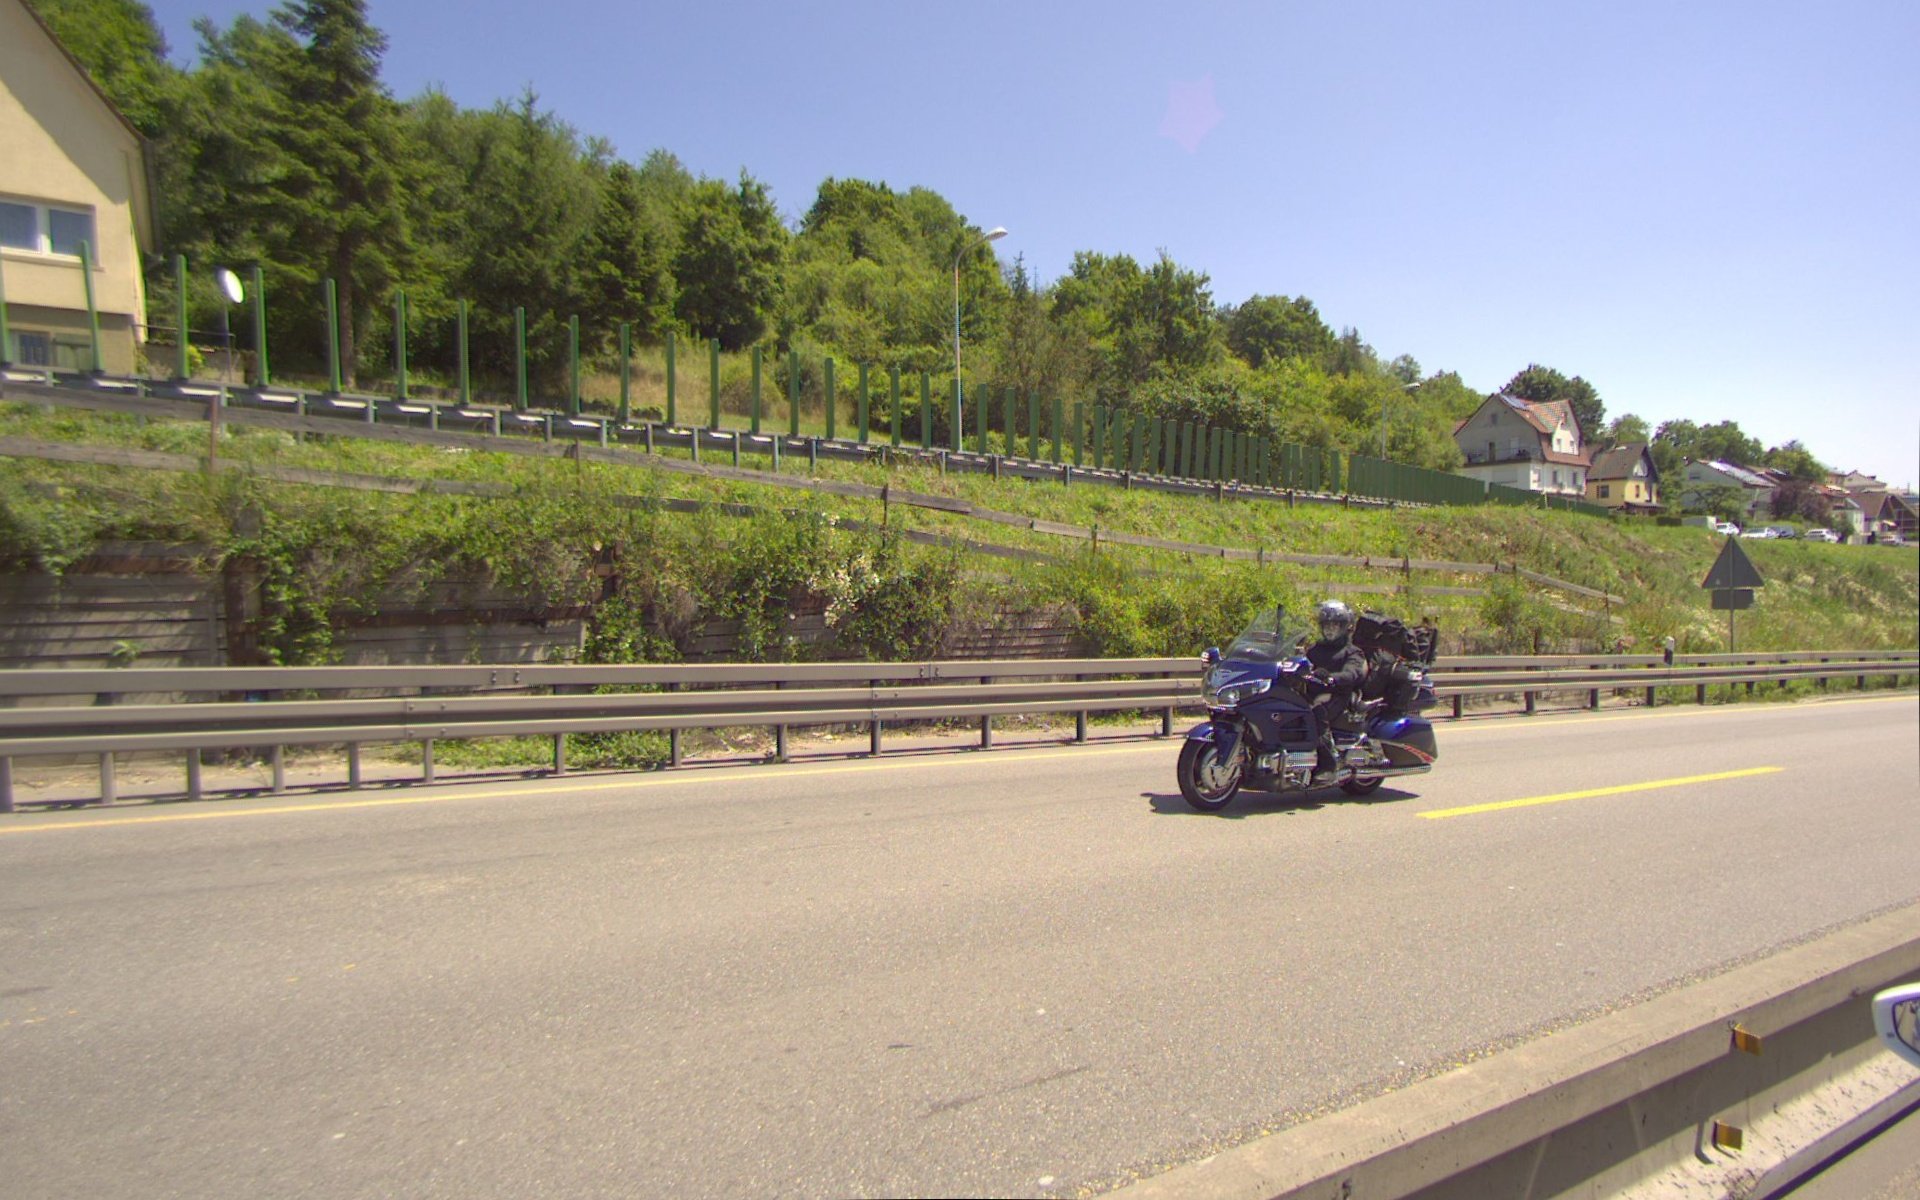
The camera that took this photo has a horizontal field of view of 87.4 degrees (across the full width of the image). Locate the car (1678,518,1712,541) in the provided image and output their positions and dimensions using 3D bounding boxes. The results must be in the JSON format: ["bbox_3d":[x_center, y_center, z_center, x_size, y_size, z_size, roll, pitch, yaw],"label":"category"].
[{"bbox_3d":[53.785,-5.108,73.496,1.707,1.417,3.784,3,1,40],"label":"car"}]

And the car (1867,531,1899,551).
[{"bbox_3d":[94.954,-6.044,103.297,3.968,1.751,1.909,1,0,-40],"label":"car"}]

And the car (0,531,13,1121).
[{"bbox_3d":[-3.868,0.594,1.051,3.847,1.631,1.755,1,0,-31],"label":"car"}]

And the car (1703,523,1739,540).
[{"bbox_3d":[57.595,-5.173,76.022,3.243,1.052,1.271,1,0,-36],"label":"car"}]

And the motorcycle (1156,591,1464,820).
[{"bbox_3d":[2.811,0.738,7.936,2.590,1.572,0.786,0,1,-30],"label":"motorcycle"}]

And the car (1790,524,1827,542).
[{"bbox_3d":[78.561,-6.207,92.973,3.969,1.337,1.976,2,3,-41],"label":"car"}]

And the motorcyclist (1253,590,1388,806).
[{"bbox_3d":[2.844,0.742,7.945,0.727,1.606,0.662,2,-1,-30],"label":"motorcyclist"}]
